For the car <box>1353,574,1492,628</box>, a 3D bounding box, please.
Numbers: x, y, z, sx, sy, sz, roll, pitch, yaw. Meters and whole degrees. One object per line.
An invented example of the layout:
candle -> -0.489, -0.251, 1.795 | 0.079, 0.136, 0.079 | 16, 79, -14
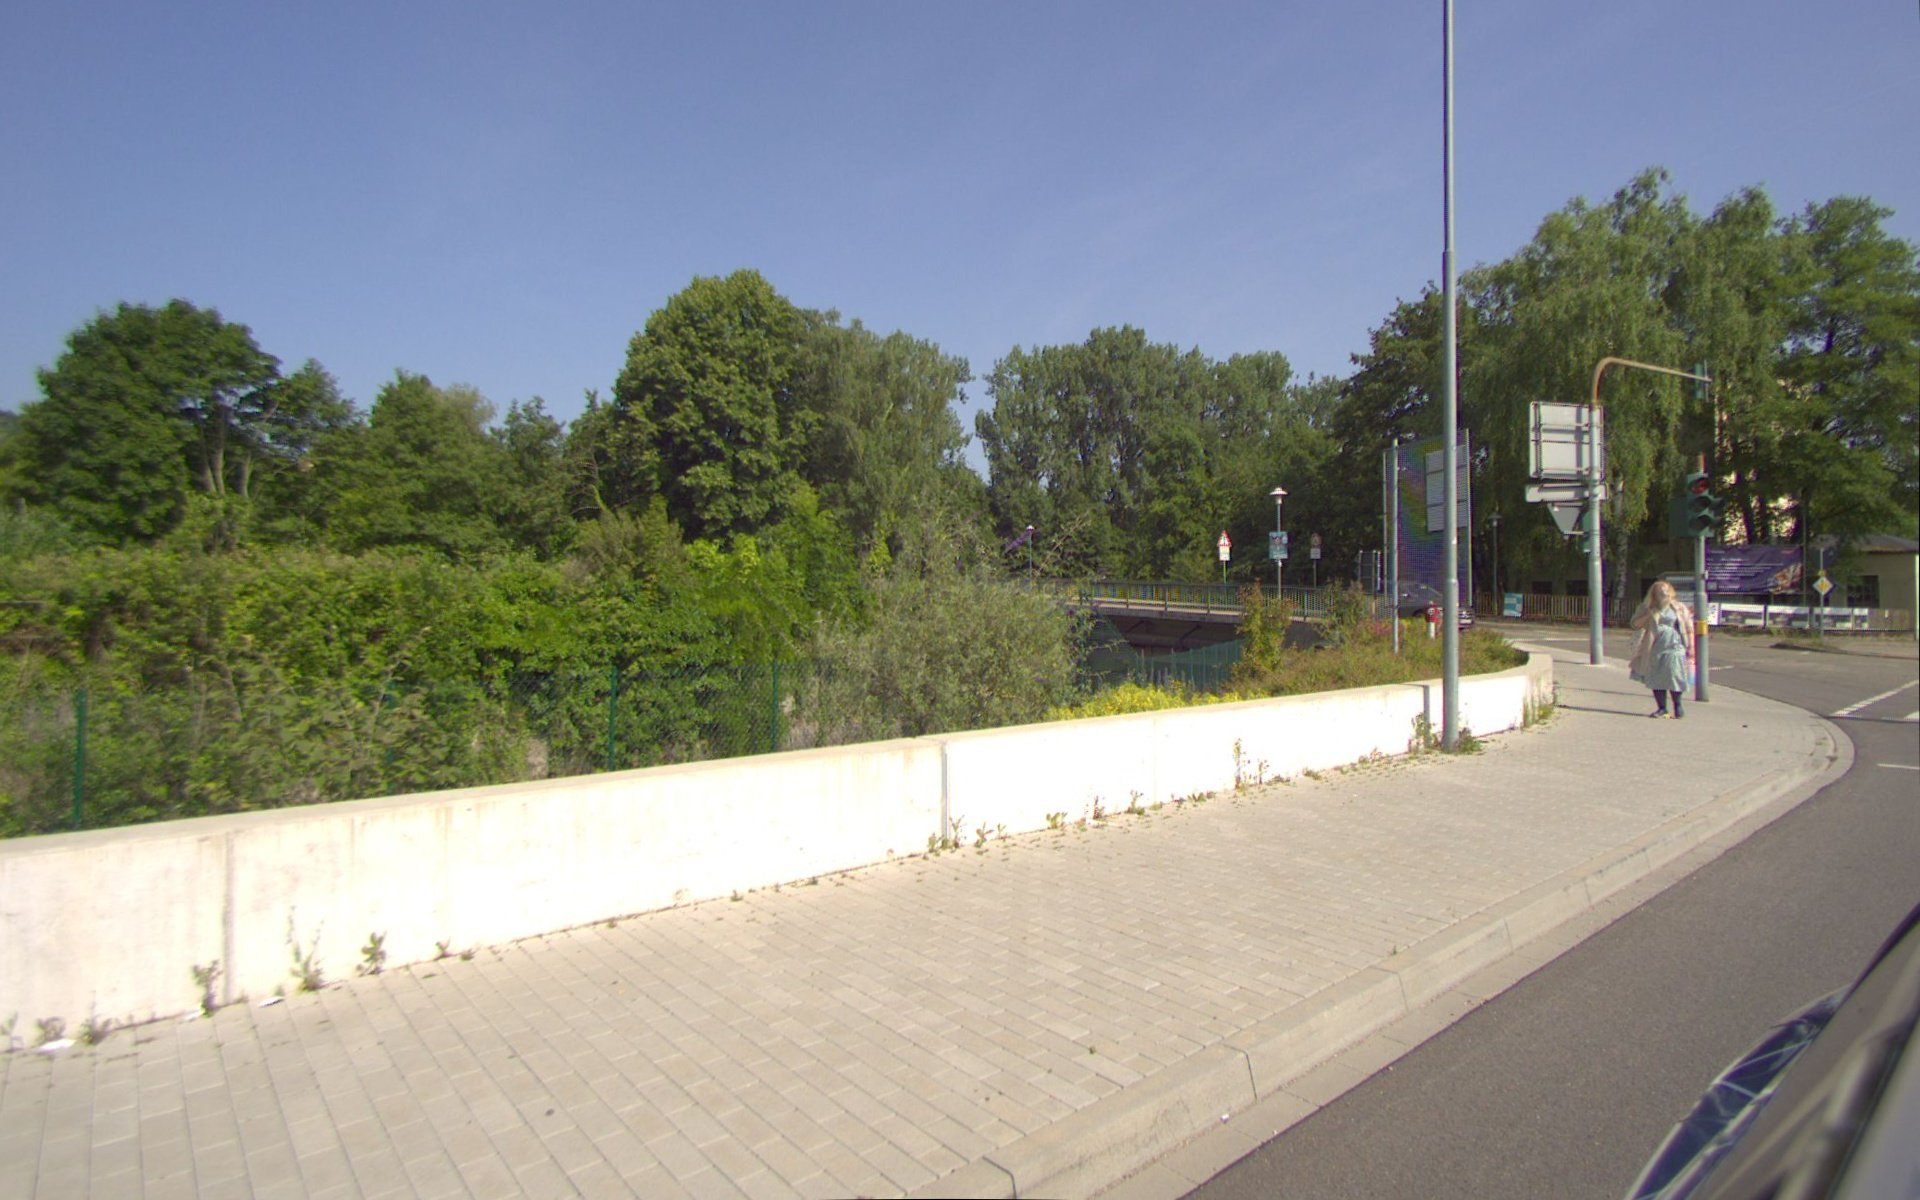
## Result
car -> 14.730, -0.012, 32.503 | 1.632, 1.536, 4.095 | 1, 2, -20

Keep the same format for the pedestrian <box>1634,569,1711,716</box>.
pedestrian -> 8.492, 0.481, 12.060 | 0.709, 1.692, 0.585 | 1, 0, 37
